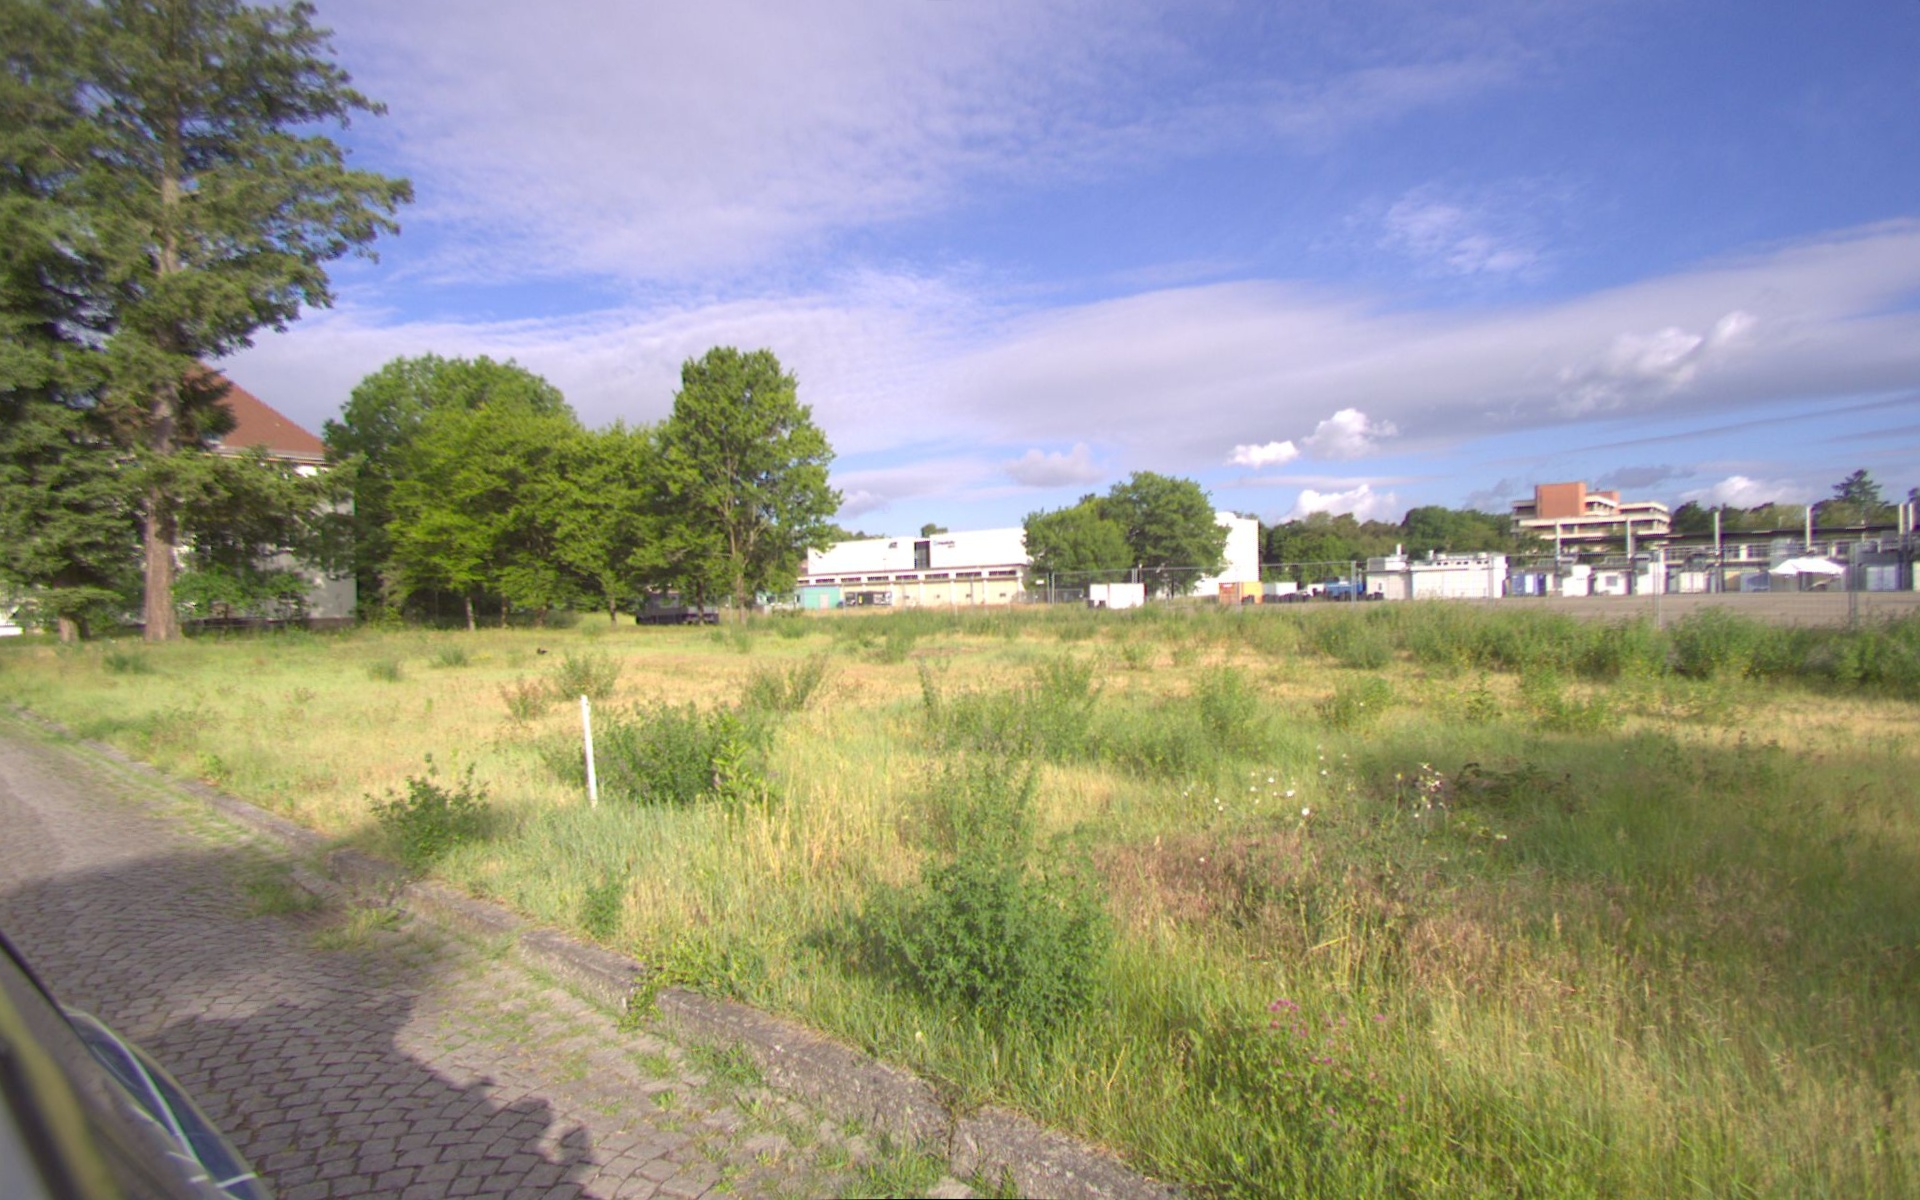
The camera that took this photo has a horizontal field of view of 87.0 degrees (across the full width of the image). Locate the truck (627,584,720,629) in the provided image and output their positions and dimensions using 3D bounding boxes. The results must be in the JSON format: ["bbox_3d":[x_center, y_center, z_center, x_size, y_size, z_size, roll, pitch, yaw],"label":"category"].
[{"bbox_3d":[-18.010,0.443,63.355,6.960,2.606,2.385,-2,0,44],"label":"truck"}]
